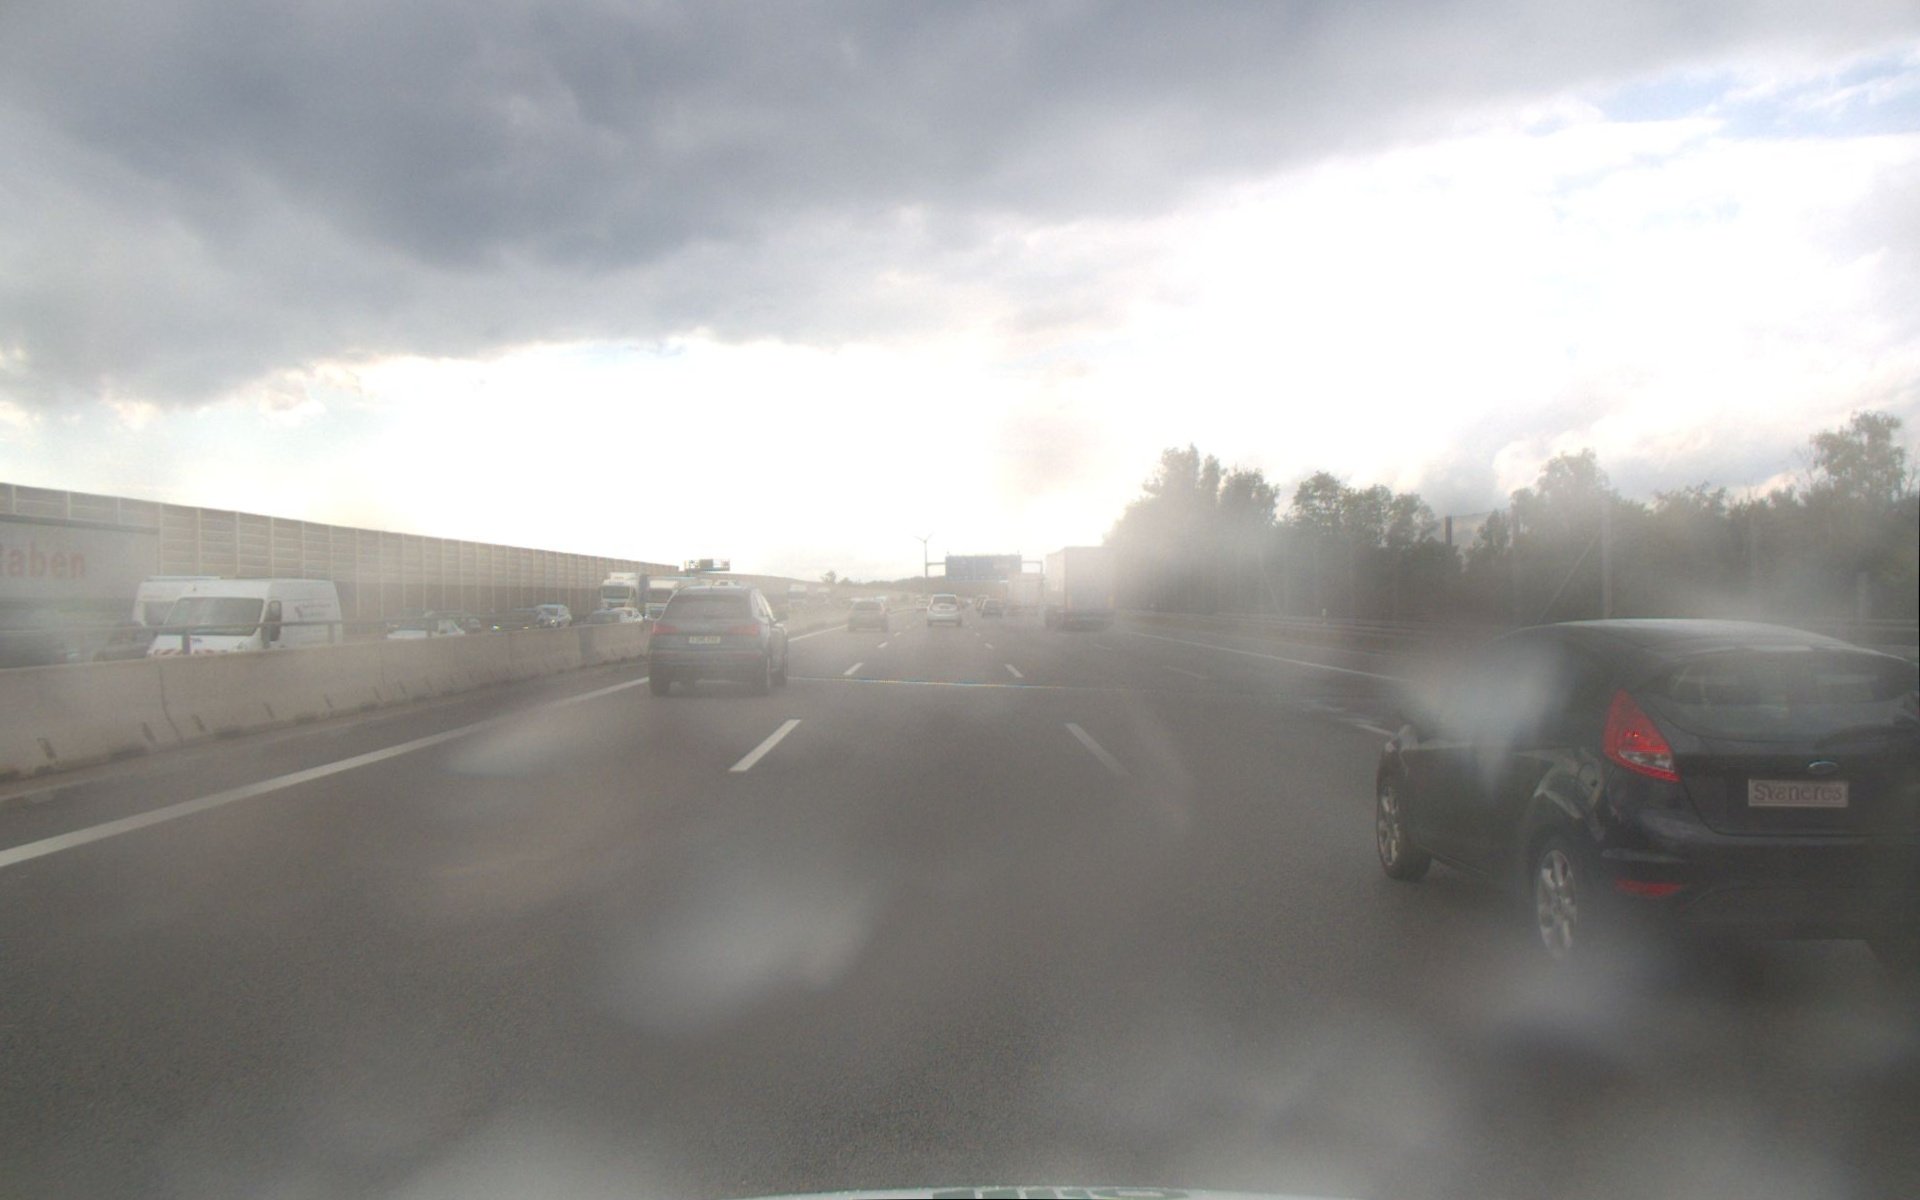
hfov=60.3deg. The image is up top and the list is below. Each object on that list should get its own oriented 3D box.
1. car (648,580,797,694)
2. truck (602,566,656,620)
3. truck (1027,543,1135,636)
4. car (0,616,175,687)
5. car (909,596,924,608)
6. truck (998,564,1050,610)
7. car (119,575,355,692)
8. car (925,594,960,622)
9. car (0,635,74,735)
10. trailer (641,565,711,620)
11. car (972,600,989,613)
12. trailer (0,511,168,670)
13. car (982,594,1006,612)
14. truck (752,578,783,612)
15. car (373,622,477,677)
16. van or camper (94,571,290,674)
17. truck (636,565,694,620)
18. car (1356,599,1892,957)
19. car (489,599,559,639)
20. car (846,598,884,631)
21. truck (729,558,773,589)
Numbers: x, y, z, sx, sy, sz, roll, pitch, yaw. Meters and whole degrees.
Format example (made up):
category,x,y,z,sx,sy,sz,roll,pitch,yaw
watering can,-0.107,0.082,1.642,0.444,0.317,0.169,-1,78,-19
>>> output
category,x,y,z,sx,sy,sz,roll,pitch,yaw
car,-3.868,0.538,27.761,1.870,1.720,5.167,0,1,-1
truck,-26.608,-0.603,133.351,2.655,4.146,8.913,1,0,-1
truck,6.056,-0.559,85.508,4.096,4.363,12.607,1,1,-2
car,-21.574,1.218,41.087,1.712,1.552,5.139,-1,0,-1
car,-5.410,0.287,207.146,1.737,1.466,3.871,0,1,-4
truck,6.112,-1.234,161.260,4.158,4.249,11.985,1,0,-2
car,-14.221,0.582,33.030,2.115,2.107,6.013,-1,0,-1
car,-1.018,0.429,92.284,1.737,1.466,4.052,0,1,-4
car,-17.861,1.530,29.058,2.037,1.688,4.801,-1,0,-1
trailer,-22.302,-0.632,130.862,3.016,4.003,14.980,1,0,-1
car,2.487,0.762,200.879,1.799,1.466,4.054,0,1,-2
trailer,-25.491,-0.268,43.768,2.511,4.003,13.814,1,0,-1
car,2.927,0.289,141.752,1.799,1.466,4.054,0,1,-2
truck,-19.772,-0.516,170.488,2.274,3.406,8.352,1,0,-1
car,-17.914,1.615,55.627,1.884,1.627,5.095,-1,0,-1
van or camper,-21.724,0.569,47.233,2.296,2.687,7.148,-1,0,-1
truck,-22.234,-0.581,125.019,3.017,4.003,8.052,1,0,-1
car,3.169,0.746,8.520,1.418,1.466,3.163,0,0,-2
car,-18.484,0.780,70.338,1.884,1.627,4.252,-1,0,-1
car,-4.424,0.646,76.674,1.726,1.393,5.056,0,1,-4
truck,-24.345,-3.002,193.194,3.200,3.410,16.082,1,0,-1
